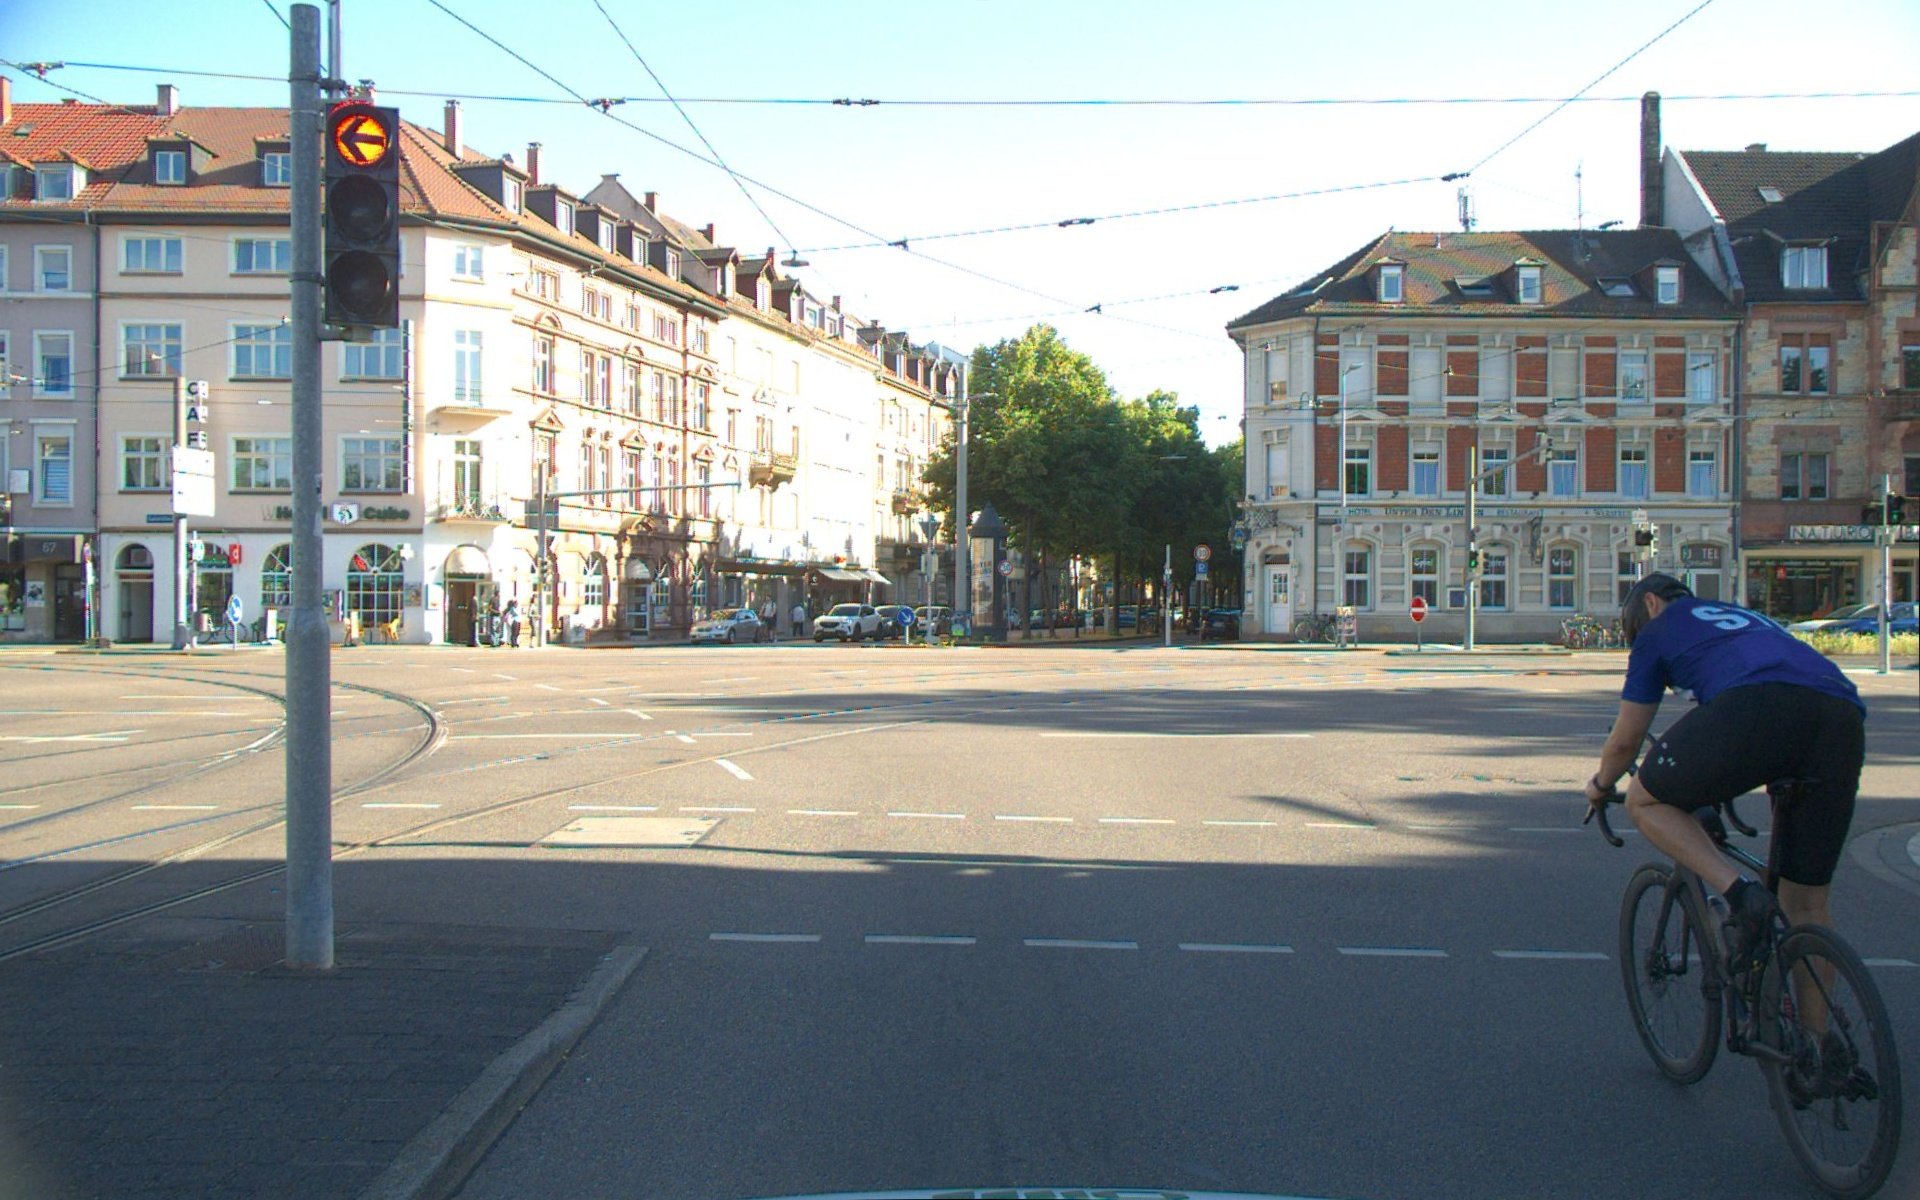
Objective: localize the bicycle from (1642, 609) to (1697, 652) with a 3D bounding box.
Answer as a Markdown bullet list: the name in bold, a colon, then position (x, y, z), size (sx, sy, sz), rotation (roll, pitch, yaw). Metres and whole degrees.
- **bicycle**: position (22.799, 0.966, 53.178), size (0.615, 1.309, 2.661), rotation (1, 0, 0)

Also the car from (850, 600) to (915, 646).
- **car**: position (-3.394, 1.005, 73.142), size (1.951, 1.937, 4.003), rotation (1, 0, 11)

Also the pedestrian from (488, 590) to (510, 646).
- **pedestrian**: position (-15.850, 0.625, 56.870), size (0.620, 1.914, 0.465), rotation (1, -1, -5)

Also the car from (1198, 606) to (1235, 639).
- **car**: position (12.867, 1.128, 82.778), size (1.655, 1.592, 3.844), rotation (1, 0, 11)

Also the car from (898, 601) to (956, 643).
- **car**: position (-1.563, 1.063, 79.515), size (1.951, 1.937, 4.003), rotation (1, 0, 11)

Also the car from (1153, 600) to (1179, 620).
- **car**: position (16.769, 0.825, 134.788), size (1.526, 1.540, 3.658), rotation (1, 0, 16)

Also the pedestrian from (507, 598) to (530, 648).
- **pedestrian**: position (-14.860, 0.760, 55.673), size (0.620, 1.662, 0.700), rotation (1, -1, -4)

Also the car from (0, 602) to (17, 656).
- **car**: position (-32.386, 0.917, 52.430), size (3.902, 1.699, 2.002), rotation (0, 0, 8)

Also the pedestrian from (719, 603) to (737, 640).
- **pedestrian**: position (-10.362, 0.964, 73.839), size (0.532, 1.660, 0.707), rotation (1, -1, 13)

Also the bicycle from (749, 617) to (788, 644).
- **bicycle**: position (-7.530, 1.204, 65.160), size (0.746, 1.025, 2.398), rotation (1, 0, 13)

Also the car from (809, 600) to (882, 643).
- **car**: position (-4.598, 0.859, 67.044), size (1.951, 1.646, 4.003), rotation (1, 0, 11)

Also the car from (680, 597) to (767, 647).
- **car**: position (-9.533, 0.875, 66.995), size (1.951, 1.937, 4.002), rotation (1, 0, 17)

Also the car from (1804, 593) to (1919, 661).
- **car**: position (25.867, 0.763, 46.051), size (3.706, 1.809, 1.999), rotation (1, 0, -2)

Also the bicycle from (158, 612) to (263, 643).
- **bicycle**: position (-25.517, 0.944, 56.352), size (3.066, 0.997, 1.001), rotation (1, 0, -1)

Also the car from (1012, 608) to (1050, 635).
- **car**: position (5.290, 1.602, 122.668), size (1.951, 1.937, 4.002), rotation (1, 0, 16)

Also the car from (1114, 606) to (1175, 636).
- **car**: position (12.849, 1.457, 115.154), size (3.902, 1.937, 2.001), rotation (1, 0, 15)

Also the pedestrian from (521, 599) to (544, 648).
- **pedestrian**: position (-14.721, 0.814, 56.950), size (0.620, 1.662, 0.700), rotation (1, -1, -4)

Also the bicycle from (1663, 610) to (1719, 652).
- **bicycle**: position (23.483, 0.980, 53.177), size (0.615, 1.309, 2.661), rotation (1, 0, 0)

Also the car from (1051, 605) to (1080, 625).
- **car**: position (8.468, 1.185, 132.108), size (1.526, 1.540, 3.658), rotation (1, 0, 16)

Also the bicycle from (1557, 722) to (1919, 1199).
- **bicycle**: position (2.278, 0.961, 4.669), size (0.613, 1.104, 1.703), rotation (1, 0, 2)

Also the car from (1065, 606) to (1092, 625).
- **car**: position (9.790, 1.253, 136.417), size (1.526, 1.540, 3.658), rotation (1, 0, 16)

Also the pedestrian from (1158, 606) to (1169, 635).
- **pedestrian**: position (12.603, 1.263, 102.553), size (0.626, 1.827, 0.491), rotation (1, -1, 12)

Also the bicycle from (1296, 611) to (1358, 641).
- **bicycle**: position (12.707, 0.903, 57.262), size (2.006, 1.015, 0.631), rotation (0, -1, 2)

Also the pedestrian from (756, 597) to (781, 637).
- **pedestrian**: position (-7.542, 0.665, 65.089), size (0.803, 1.539, 0.598), rotation (1, -1, 14)

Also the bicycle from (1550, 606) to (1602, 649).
- **bicycle**: position (19.767, 0.868, 53.104), size (0.678, 1.309, 2.661), rotation (1, 0, 0)

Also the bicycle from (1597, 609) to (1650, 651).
- **bicycle**: position (21.306, 0.942, 53.151), size (0.615, 1.309, 2.661), rotation (1, 0, 0)

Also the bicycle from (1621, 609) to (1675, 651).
- **bicycle**: position (22.084, 0.949, 53.154), size (0.615, 1.309, 2.661), rotation (1, 0, 0)

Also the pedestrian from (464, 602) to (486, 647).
- **pedestrian**: position (-16.367, 0.835, 55.842), size (0.620, 1.502, 0.465), rotation (1, -1, -5)

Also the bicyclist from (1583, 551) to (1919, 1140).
- **bicyclist**: position (2.257, 0.624, 4.730), size (0.625, 1.520, 0.884), rotation (1, 1, 3)

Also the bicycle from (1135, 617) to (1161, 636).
- **bicycle**: position (11.281, 1.565, 99.226), size (0.619, 1.104, 1.685), rotation (1, 0, -31)

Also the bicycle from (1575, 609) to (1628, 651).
- **bicycle**: position (20.595, 0.938, 53.130), size (0.678, 1.309, 2.661), rotation (1, 0, 0)

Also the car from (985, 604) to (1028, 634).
- **car**: position (3.179, 1.283, 112.739), size (1.951, 1.937, 4.002), rotation (1, 0, 16)

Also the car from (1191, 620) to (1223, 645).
- **car**: position (14.879, 1.929, 99.348), size (1.716, 1.386, 3.859), rotation (1, 0, 11)

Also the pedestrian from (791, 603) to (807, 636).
- **pedestrian**: position (-7.962, 0.961, 81.837), size (0.532, 1.660, 0.707), rotation (1, -1, 13)
